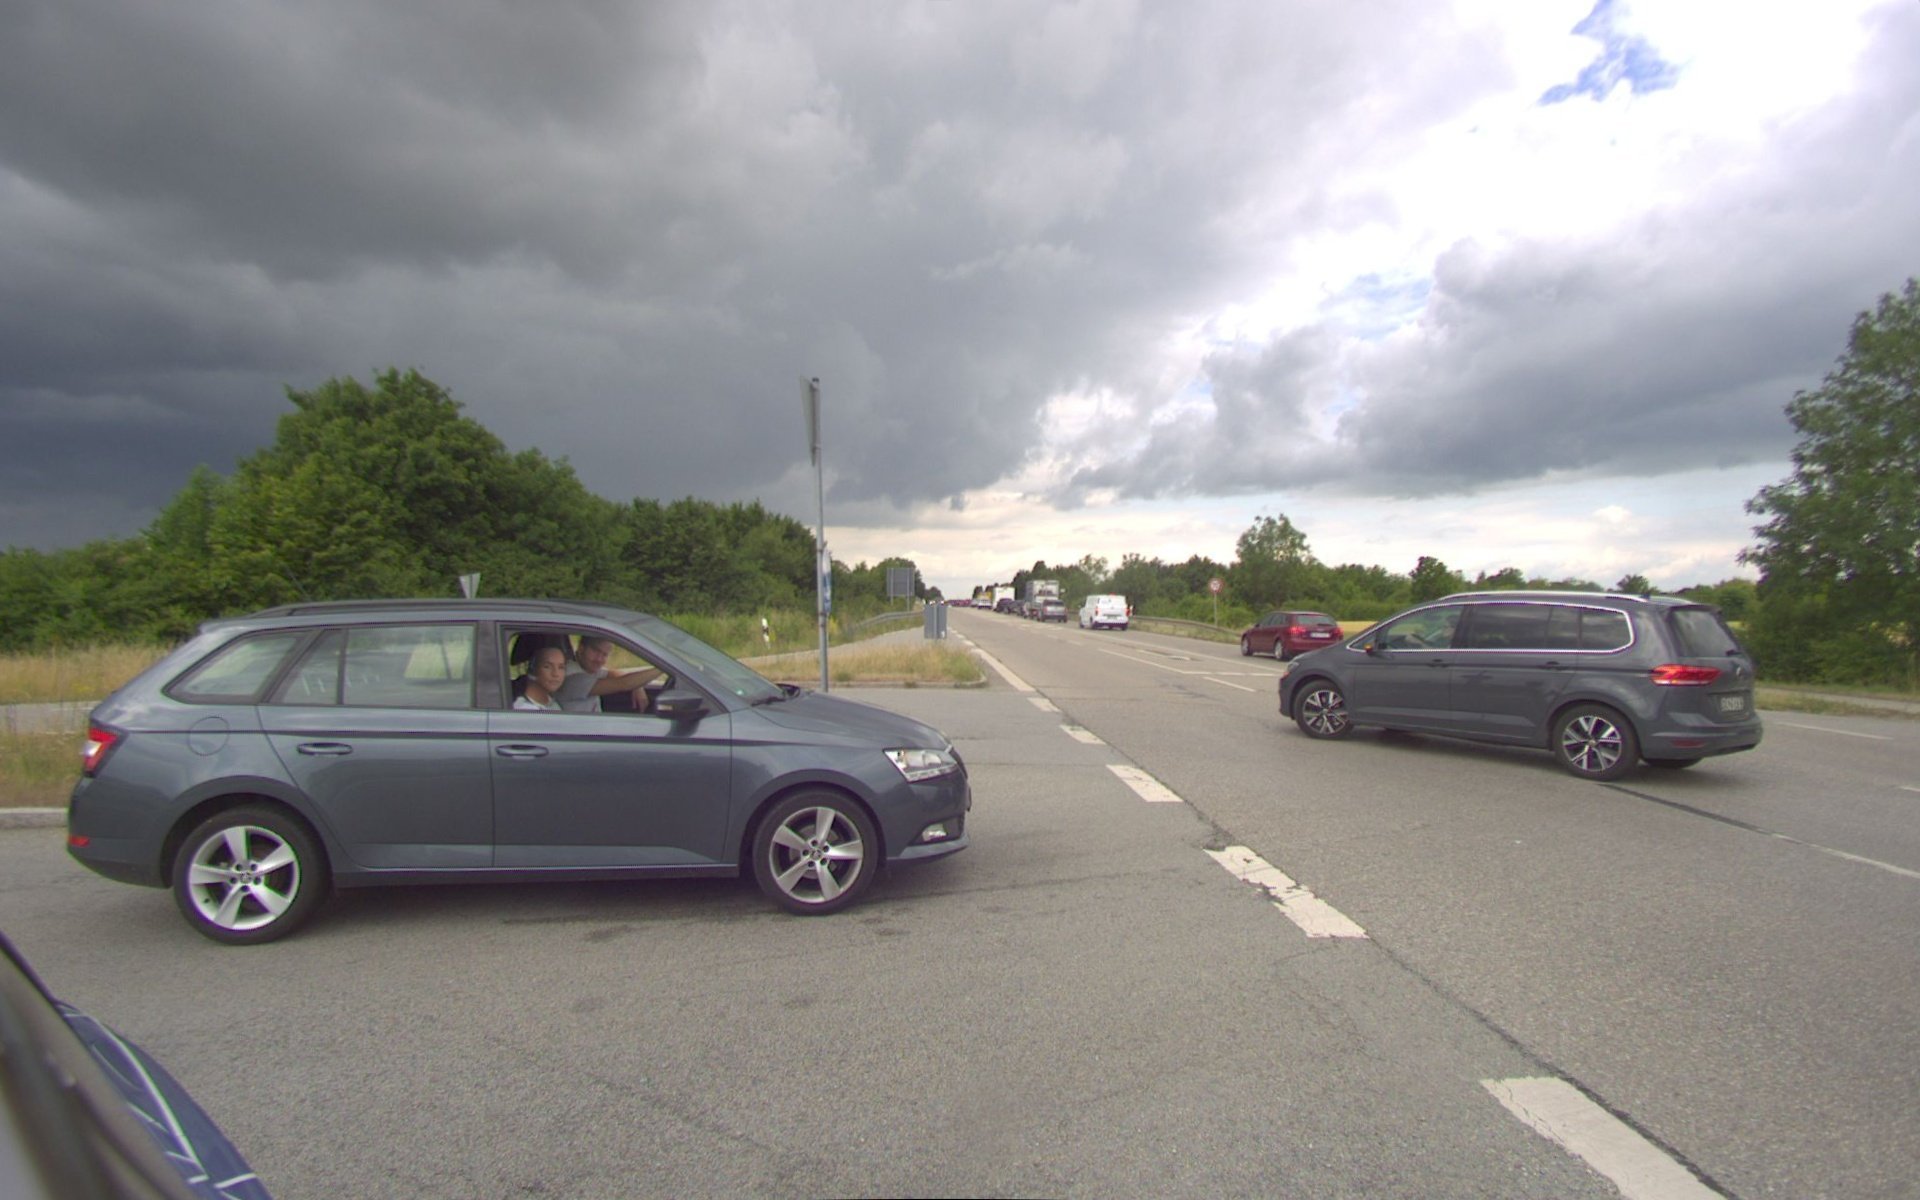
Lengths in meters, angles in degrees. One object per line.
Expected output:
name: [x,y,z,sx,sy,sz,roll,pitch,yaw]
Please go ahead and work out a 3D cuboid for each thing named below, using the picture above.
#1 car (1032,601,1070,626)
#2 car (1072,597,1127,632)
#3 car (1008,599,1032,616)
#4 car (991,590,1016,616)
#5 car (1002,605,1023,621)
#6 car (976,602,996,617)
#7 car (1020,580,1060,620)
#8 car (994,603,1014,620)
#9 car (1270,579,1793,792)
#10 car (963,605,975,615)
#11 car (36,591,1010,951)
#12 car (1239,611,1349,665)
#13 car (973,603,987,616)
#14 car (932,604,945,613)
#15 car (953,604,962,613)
car: [6.504,0.995,72.468,1.970,1.636,4.265,2,-1,-4]
car: [7.864,0.810,57.374,2.082,1.900,5.394,1,-1,-3]
car: [5.642,0.680,95.084,1.821,1.537,4.002,0,-1,-2]
car: [5.268,0.353,123.494,2.306,3.052,6.562,0,-1,-3]
car: [5.386,1.330,104.079,1.821,1.537,4.002,0,-1,-3]
car: [3.492,1.314,137.501,2.307,1.936,4.878,0,-1,-3]
car: [6.500,0.054,83.006,2.307,3.052,6.561,2,-1,-3]
car: [4.914,1.291,112.548,1.830,1.763,4.003,0,-1,-3]
car: [5.417,0.690,10.221,1.724,1.671,4.303,2,-1,-31]
car: [1.622,1.741,180.573,1.831,1.763,4.002,0,-1,-2]
car: [-1.910,0.689,5.293,4.051,1.458,1.722,0,0,-9]
car: [9.510,1.040,29.118,1.653,1.412,4.091,1,-1,-2]
car: [3.162,1.502,159.937,1.771,2.029,4.003,0,-1,-3]
car: [-3.475,1.356,163.851,1.971,1.493,4.002,0,0,-3]
car: [-0.531,1.704,207.454,1.831,1.763,4.002,0,-1,-2]
